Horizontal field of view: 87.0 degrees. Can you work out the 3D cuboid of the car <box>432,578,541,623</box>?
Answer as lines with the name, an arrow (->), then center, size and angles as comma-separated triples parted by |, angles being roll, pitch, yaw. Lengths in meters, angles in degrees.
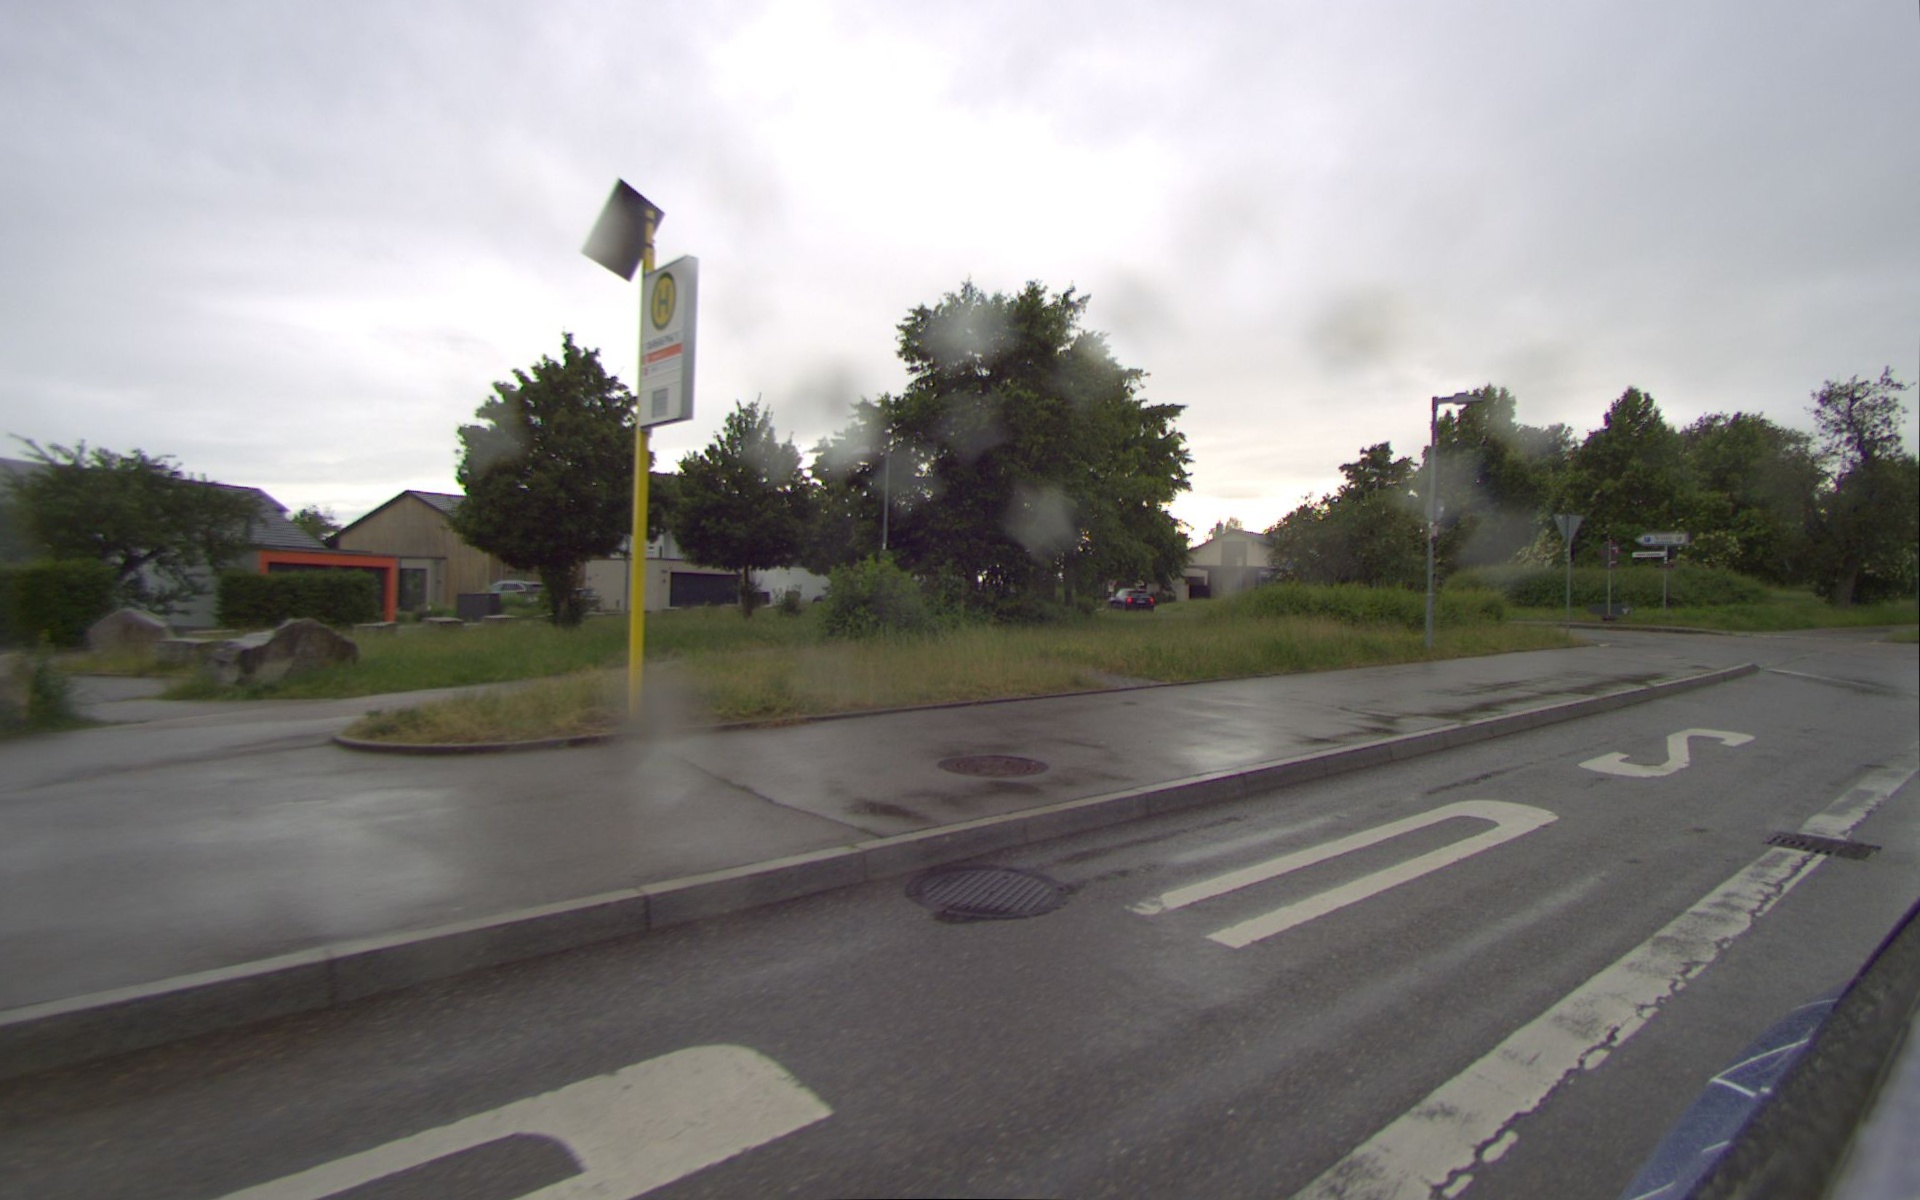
car -> -20.469, 0.000, 43.807 | 3.941, 1.772, 1.971 | 2, 0, 14

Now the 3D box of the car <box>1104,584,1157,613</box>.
car -> 9.319, -0.124, 55.510 | 1.778, 1.522, 3.618 | 0, 1, -10

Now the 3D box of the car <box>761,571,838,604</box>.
car -> -8.861, -0.707, 55.960 | 1.993, 1.772, 3.857 | 1, 1, 42
